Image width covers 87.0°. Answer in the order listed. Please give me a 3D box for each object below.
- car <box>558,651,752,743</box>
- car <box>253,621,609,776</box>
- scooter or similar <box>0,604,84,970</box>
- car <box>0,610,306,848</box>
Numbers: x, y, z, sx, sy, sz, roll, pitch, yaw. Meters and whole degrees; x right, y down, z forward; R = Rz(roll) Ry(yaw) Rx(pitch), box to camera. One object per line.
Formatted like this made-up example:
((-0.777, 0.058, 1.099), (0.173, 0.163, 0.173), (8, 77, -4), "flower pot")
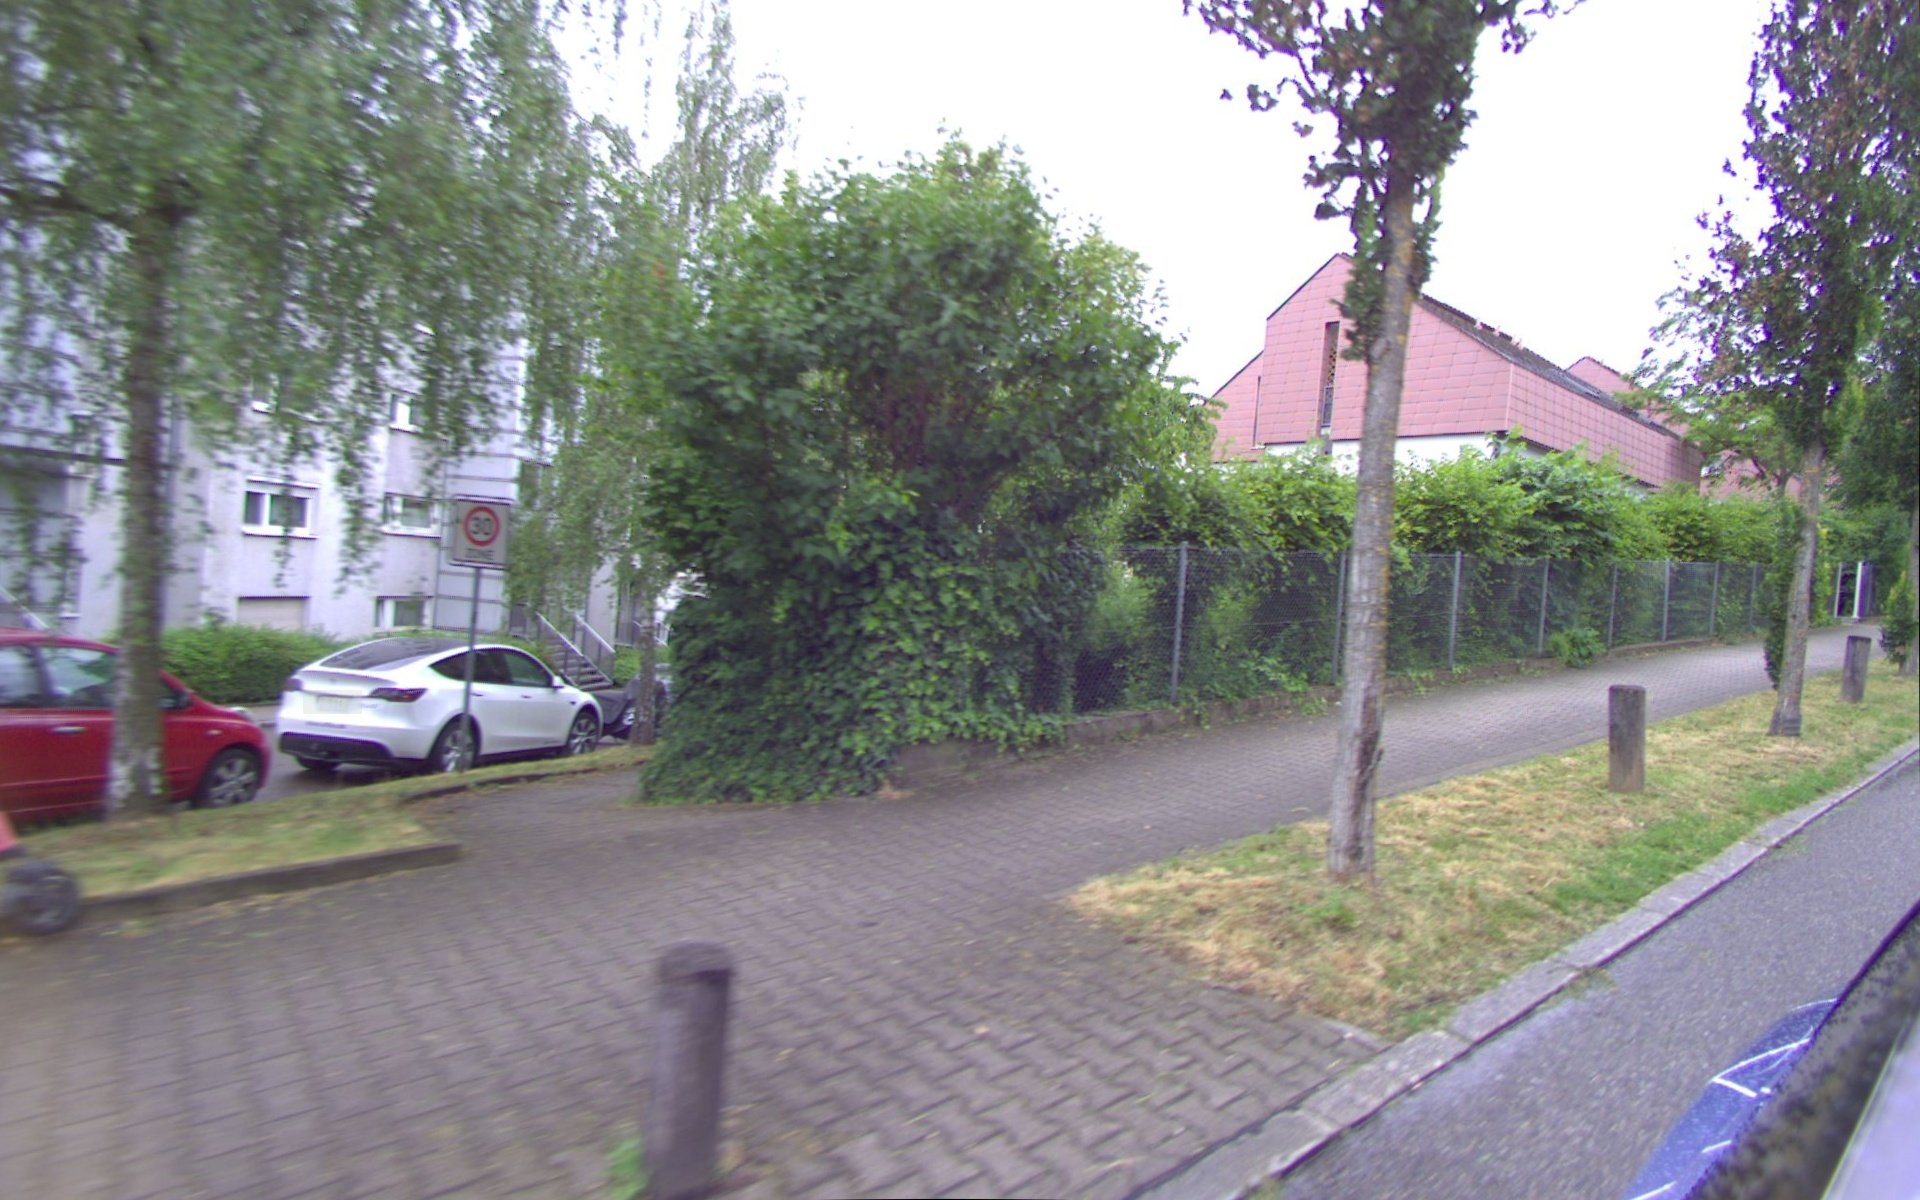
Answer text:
((-5.419, 1.742, 18.628), (1.698, 1.440, 4.288), (1, -4, 8), "car")
((-6.347, 1.228, 12.847), (1.698, 1.562, 4.359), (1, -5, 8), "car")
((-3.785, 0.668, 3.403), (1.245, 1.270, 0.343), (-1, 1, -40), "scooter or similar")
((-6.996, 0.864, 7.450), (1.618, 1.542, 3.558), (3, -4, 9), "car")
